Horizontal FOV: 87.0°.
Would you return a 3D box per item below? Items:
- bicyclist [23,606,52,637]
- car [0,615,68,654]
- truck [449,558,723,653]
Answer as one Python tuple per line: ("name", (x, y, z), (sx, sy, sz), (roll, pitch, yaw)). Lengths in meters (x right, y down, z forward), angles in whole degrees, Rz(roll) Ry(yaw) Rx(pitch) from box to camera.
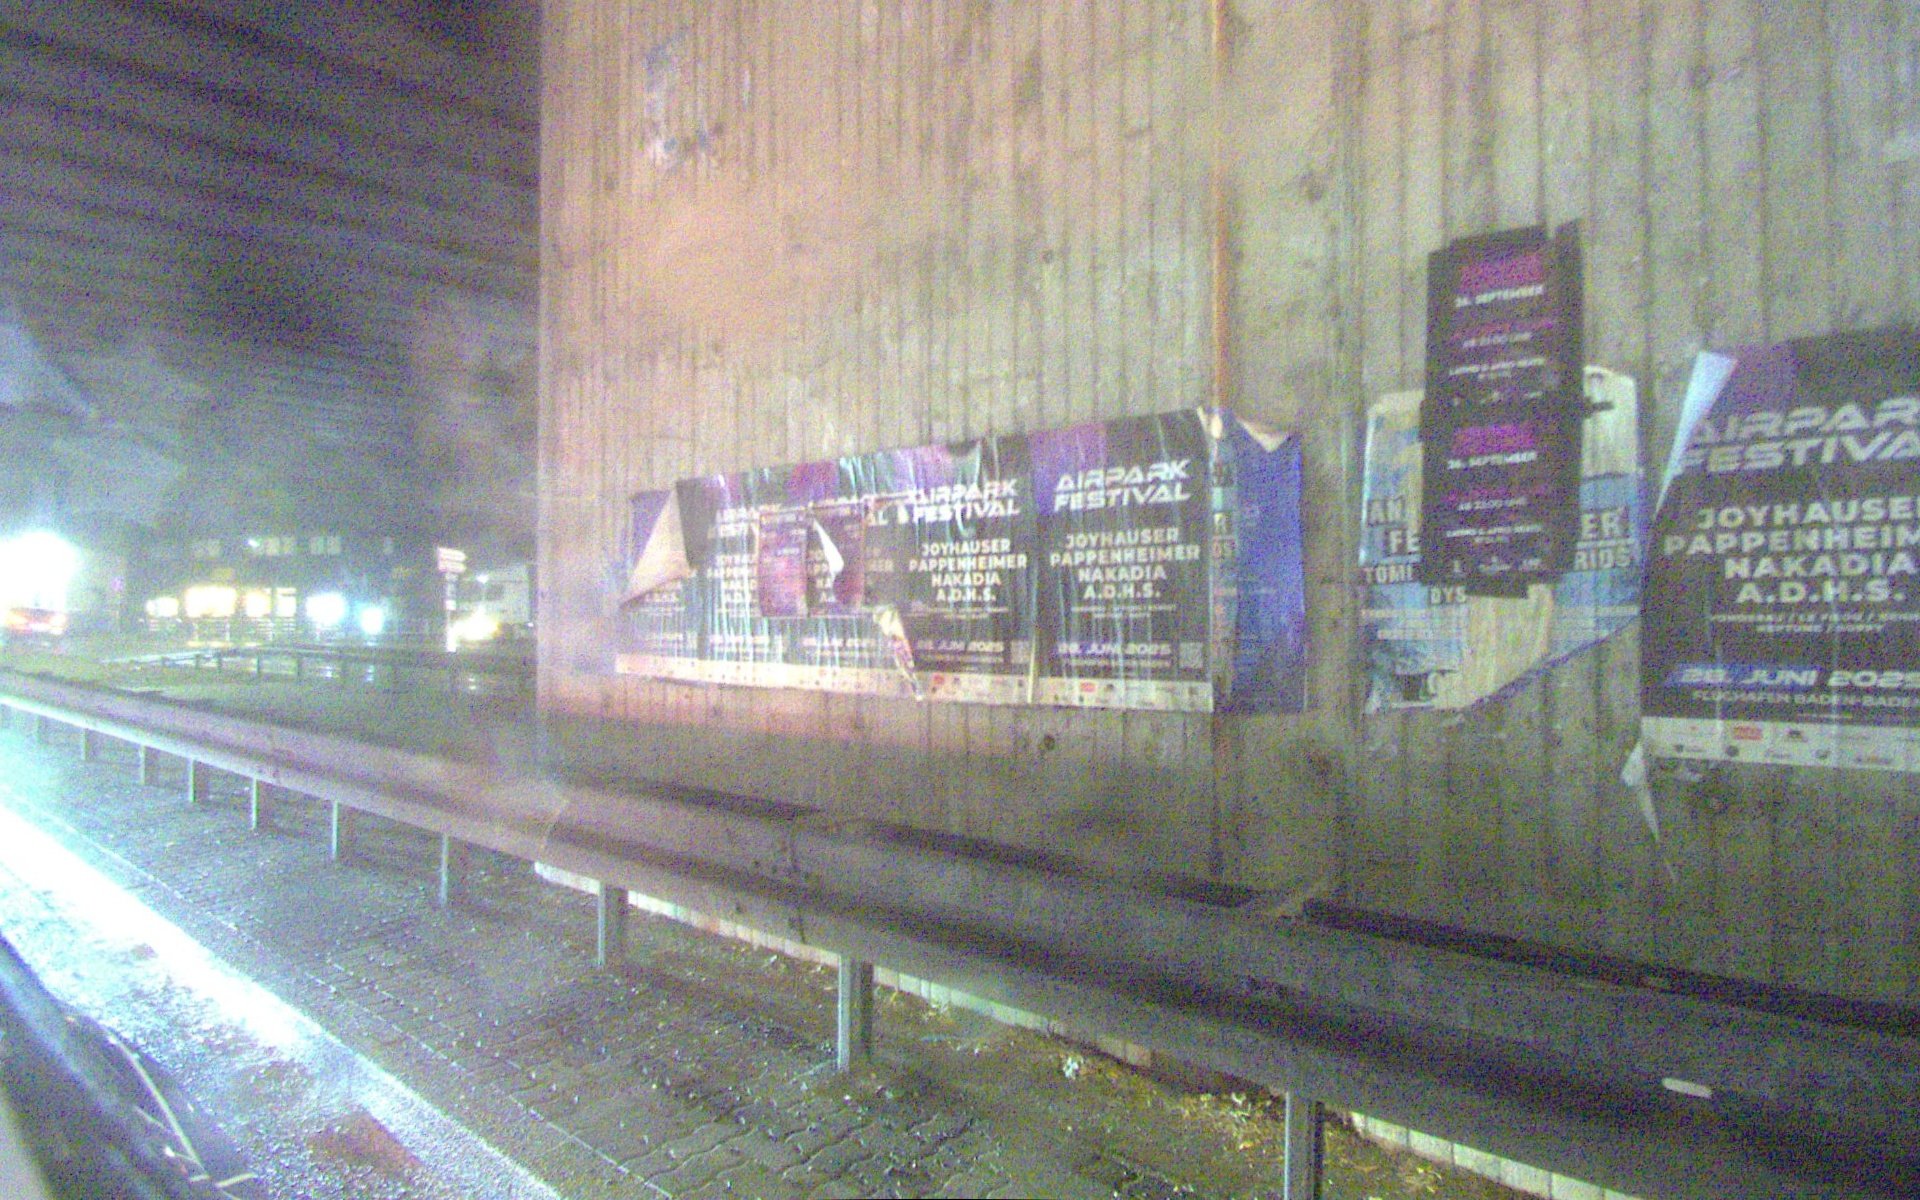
("bicyclist", (-44.144, 1.031, 48.431), (1.182, 1.446, 0.624), (0, -2, 27))
("car", (-38.422, 1.394, 41.236), (4.486, 1.498, 2.018), (0, -2, 34))
("truck", (-19.098, 0.271, 52.960), (13.480, 4.474, 2.746), (0, -1, -43))
